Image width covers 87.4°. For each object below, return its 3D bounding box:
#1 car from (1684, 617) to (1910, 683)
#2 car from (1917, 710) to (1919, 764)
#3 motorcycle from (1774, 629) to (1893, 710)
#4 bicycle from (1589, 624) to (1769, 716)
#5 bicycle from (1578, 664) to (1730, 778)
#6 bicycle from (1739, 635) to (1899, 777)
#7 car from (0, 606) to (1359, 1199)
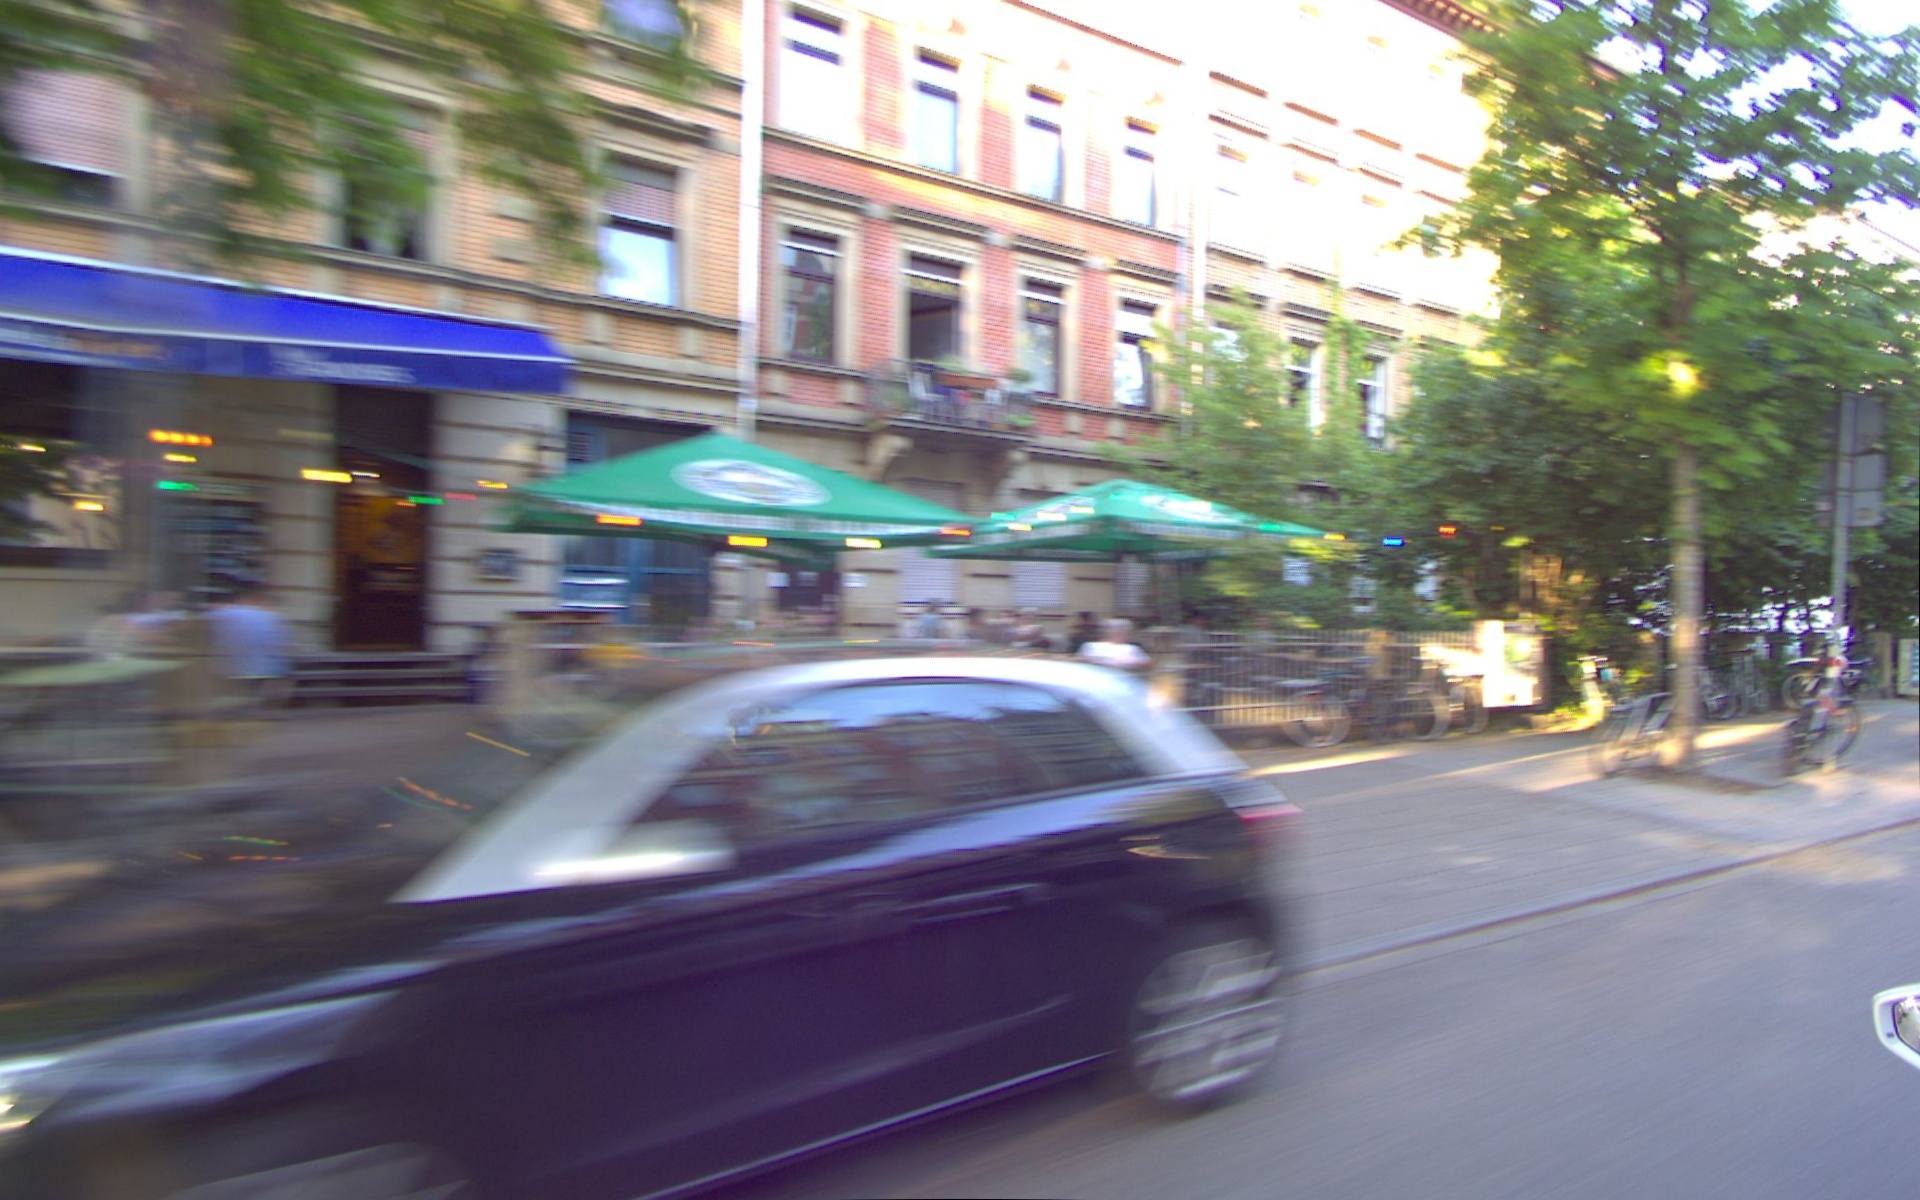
[{"bbox_3d":[22.217,1.257,26.816,1.694,1.572,4.416,0,0,-39],"label":"car"},{"bbox_3d":[11.901,0.903,10.552,4.355,1.585,1.679,0,2,-33],"label":"car"},{"bbox_3d":[14.559,1.123,16.711,2.857,1.172,0.579,0,3,-30],"label":"motorcycle"},{"bbox_3d":[10.462,1.002,14.619,2.441,1.301,0.606,1,-1,-10],"label":"bicycle"},{"bbox_3d":[6.582,1.114,9.506,1.712,0.941,0.414,1,2,-28],"label":"bicycle"},{"bbox_3d":[8.555,1.007,9.986,1.876,1.272,0.480,0,3,-28],"label":"bicycle"},{"bbox_3d":[-0.605,0.787,3.070,3.652,1.505,1.543,1,-1,-32],"label":"car"}]
